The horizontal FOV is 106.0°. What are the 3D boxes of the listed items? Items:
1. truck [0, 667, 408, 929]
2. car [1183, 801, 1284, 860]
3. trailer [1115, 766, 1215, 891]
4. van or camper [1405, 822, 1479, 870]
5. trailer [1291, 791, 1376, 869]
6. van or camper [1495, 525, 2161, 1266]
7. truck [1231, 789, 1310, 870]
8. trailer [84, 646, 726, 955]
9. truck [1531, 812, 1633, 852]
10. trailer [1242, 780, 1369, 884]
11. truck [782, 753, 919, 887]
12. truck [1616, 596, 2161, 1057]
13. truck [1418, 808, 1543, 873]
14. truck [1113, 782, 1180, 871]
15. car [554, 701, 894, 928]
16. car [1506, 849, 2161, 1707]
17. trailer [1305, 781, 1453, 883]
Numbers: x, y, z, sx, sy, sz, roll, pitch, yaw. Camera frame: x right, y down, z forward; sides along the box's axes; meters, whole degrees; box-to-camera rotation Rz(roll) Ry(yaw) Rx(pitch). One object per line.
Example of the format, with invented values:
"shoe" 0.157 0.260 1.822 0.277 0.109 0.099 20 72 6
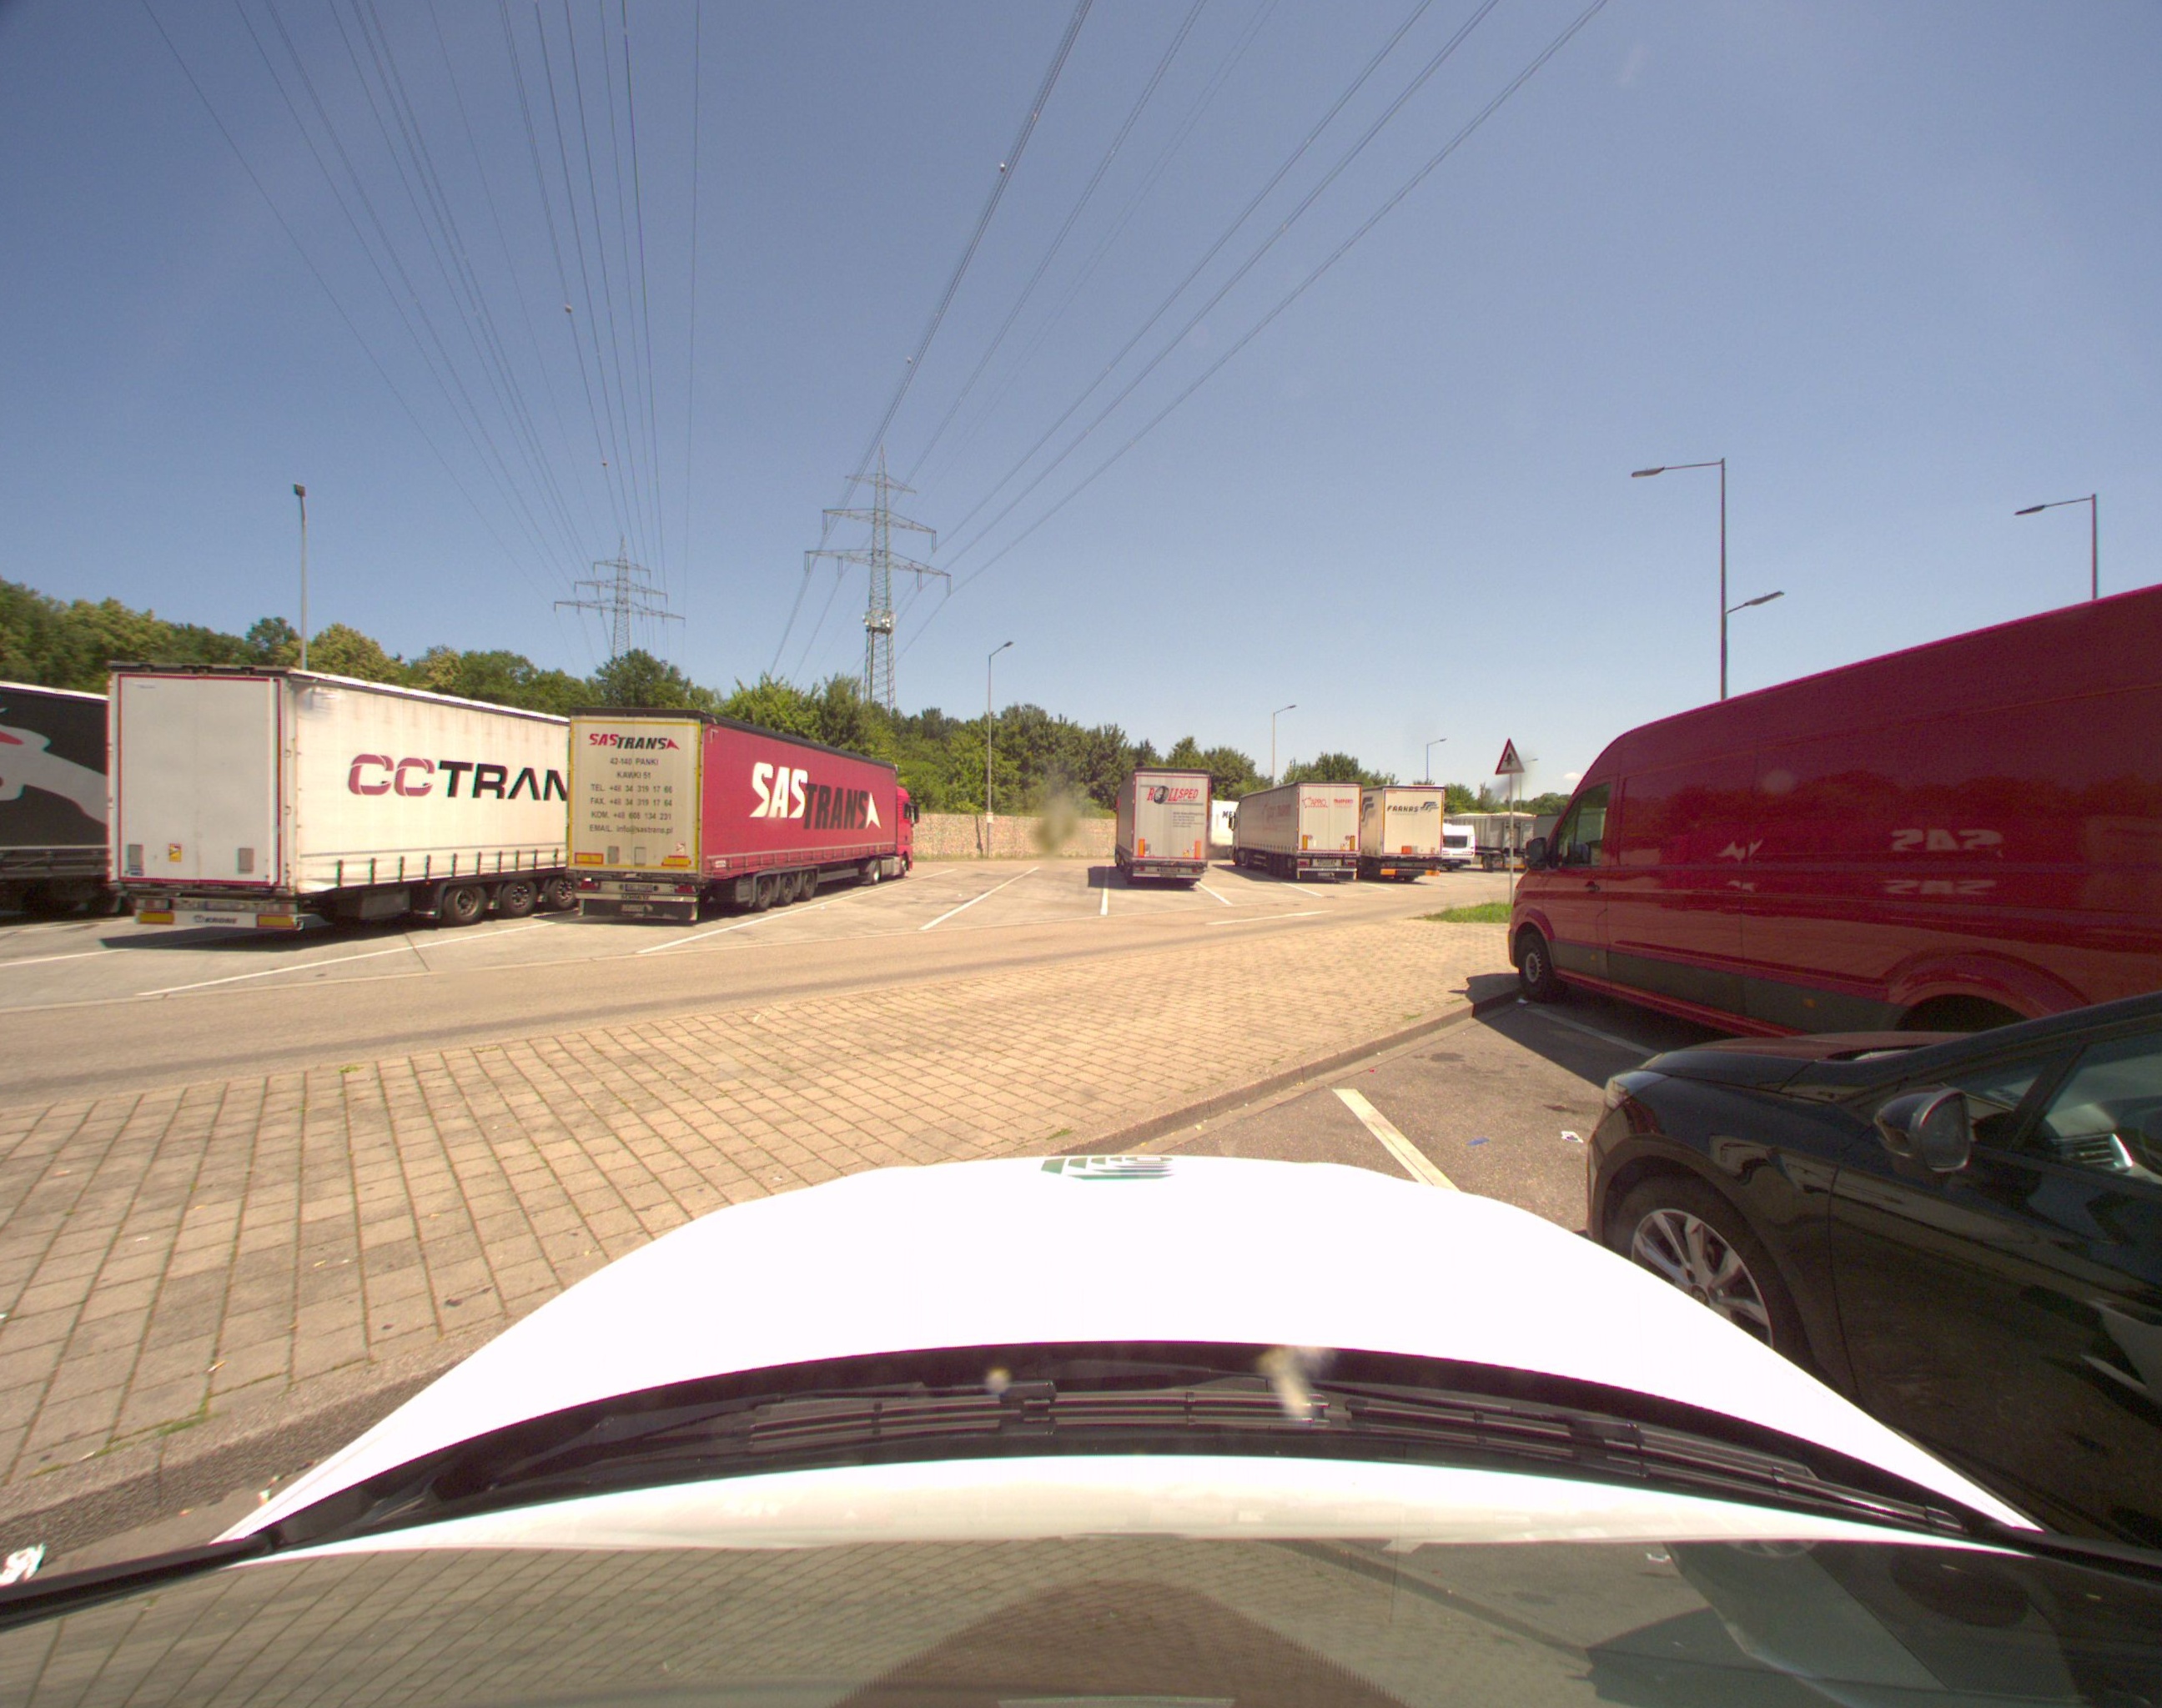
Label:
"truck" -18.627 -1.027 16.242 2.803 4.190 8.793 1 2 2
"car" 11.203 -1.694 59.164 8.516 4.043 2.656 -1 3 -44
"trailer" 3.040 -1.102 33.697 2.857 4.037 14.244 0 2 1
"van or camper" 20.587 -0.458 46.706 2.096 2.561 5.376 -1 1 3
"trailer" 13.864 -1.356 45.265 2.856 4.037 6.574 1 2 2
"van or camper" 5.127 0.103 5.460 1.986 2.654 6.490 -1 1 6
"truck" 10.176 -1.363 44.501 2.856 4.037 6.960 1 2 2
"trailer" -12.171 -0.978 17.760 2.803 4.266 12.947 1 2 2
"truck" 38.033 -1.631 62.340 2.117 2.820 9.783 -1 1 2
"trailer" 9.949 -1.099 37.868 2.855 4.037 12.445 1 2 2
"truck" -7.756 -1.154 28.319 2.686 4.112 6.243 1 2 2
"truck" 7.928 -0.207 7.032 2.455 2.792 6.978 0 1 4
"truck" 24.297 -0.948 50.464 2.478 3.568 11.429 1 2 2
"truck" 3.134 -1.391 40.785 2.857 4.037 7.029 0 2 1
"car" -8.057 -0.936 21.403 2.686 4.112 12.943 1 2 2
"car" 2.442 0.757 1.109 1.612 1.483 3.762 -1 1 -4
"trailer" 13.637 -1.118 38.843 2.855 4.037 12.445 1 2 2
